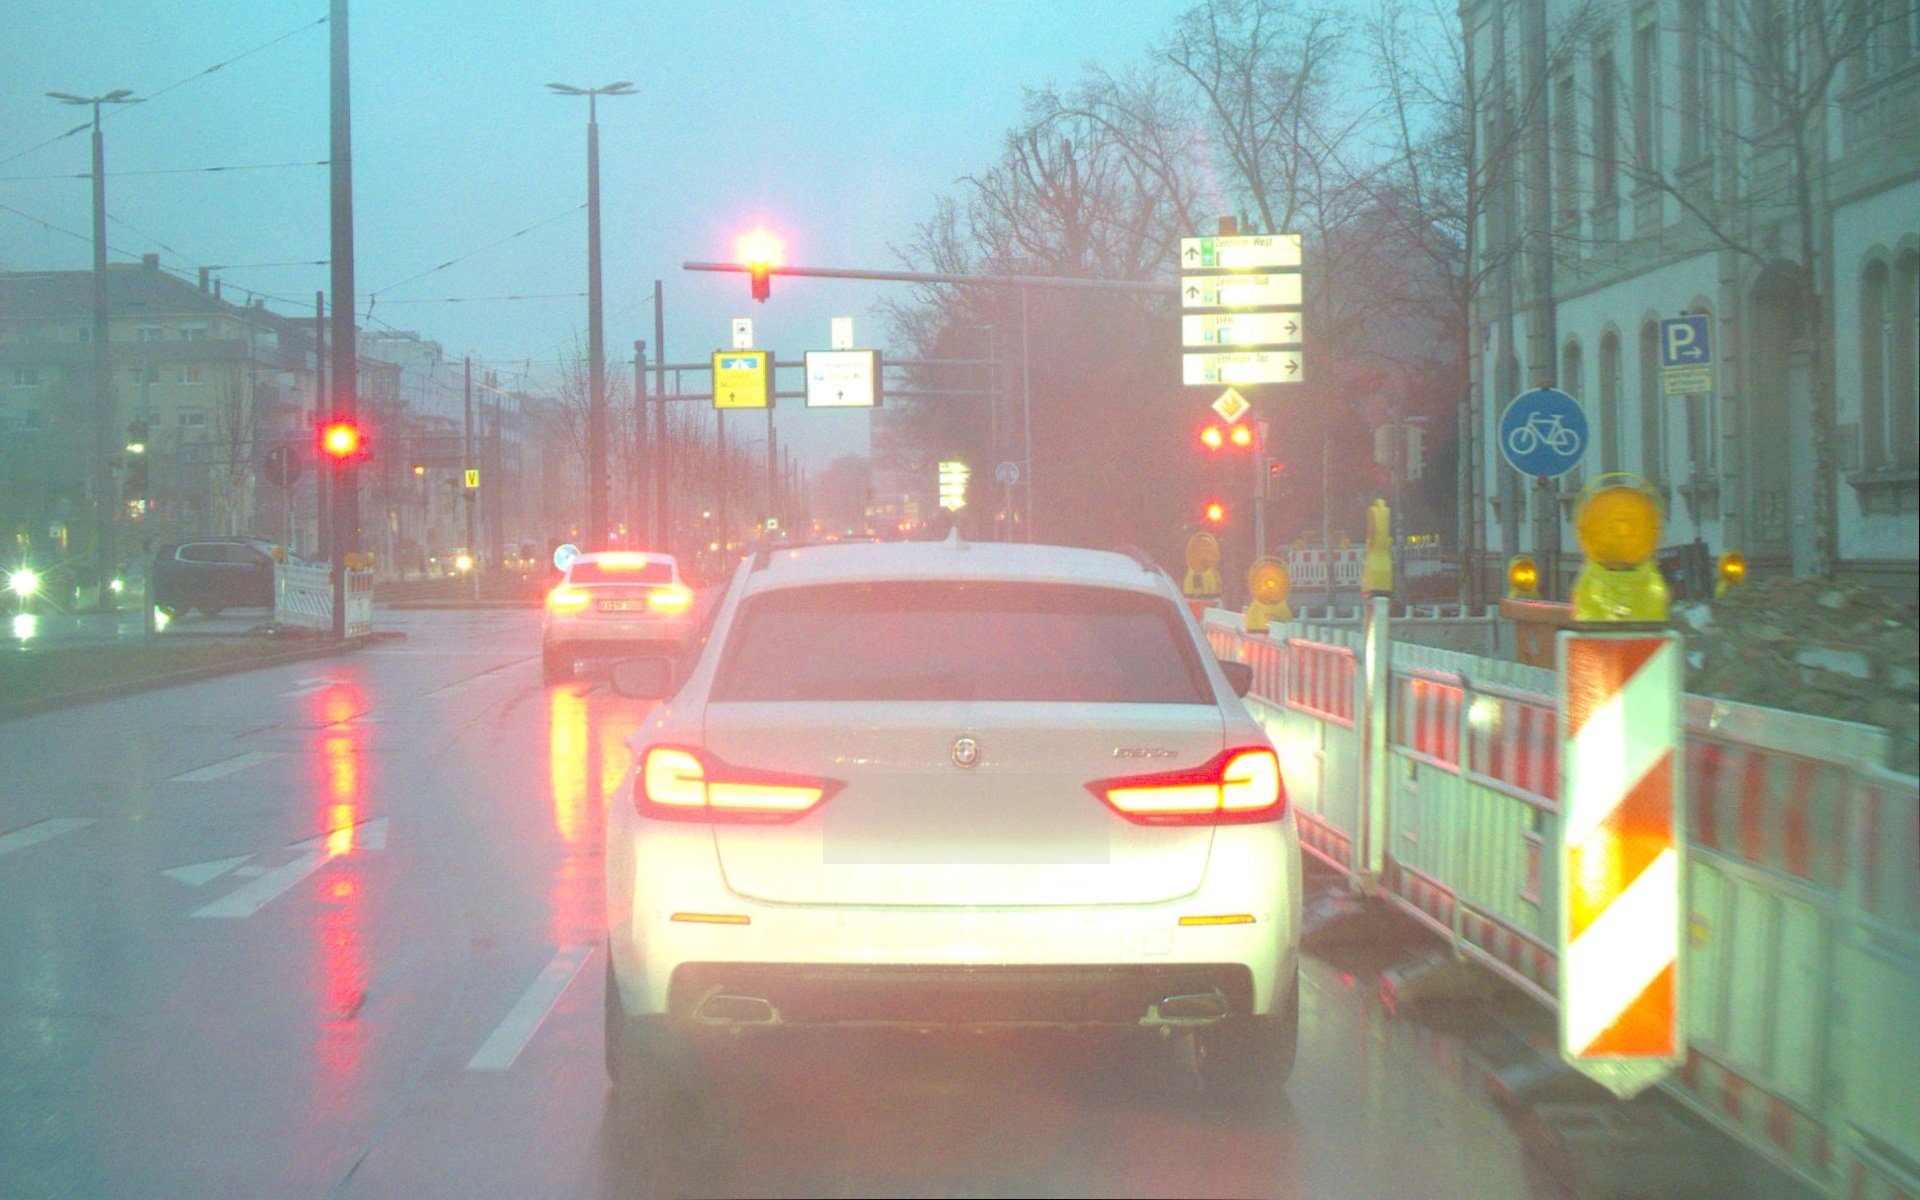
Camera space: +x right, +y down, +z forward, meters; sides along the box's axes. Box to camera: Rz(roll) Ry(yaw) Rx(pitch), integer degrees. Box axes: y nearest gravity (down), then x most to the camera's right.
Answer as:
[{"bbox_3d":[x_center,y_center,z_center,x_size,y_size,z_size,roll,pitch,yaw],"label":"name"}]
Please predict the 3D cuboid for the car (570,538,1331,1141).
[{"bbox_3d":[-0.105,0.544,10.884,1.852,1.460,4.947,0,1,-2],"label":"car"}]

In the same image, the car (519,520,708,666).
[{"bbox_3d":[-4.059,-0.114,40.813,1.901,1.636,4.000,0,1,-1],"label":"car"}]

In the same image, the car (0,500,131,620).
[{"bbox_3d":[-16.067,-0.680,57.703,3.986,1.968,2.001,0,1,-20],"label":"car"}]

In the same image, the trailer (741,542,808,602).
[{"bbox_3d":[-5.244,-0.807,97.059,1.834,1.637,4.001,0,1,-4],"label":"trailer"}]

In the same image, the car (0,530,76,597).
[{"bbox_3d":[-23.567,-0.935,86.578,1.857,1.634,4.033,0,1,-5],"label":"car"}]

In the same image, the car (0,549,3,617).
[{"bbox_3d":[-22.795,-0.394,75.907,1.740,1.487,3.541,-1,1,-44],"label":"car"}]

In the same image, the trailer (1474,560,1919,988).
[{"bbox_3d":[3.175,0.547,13.000,1.851,1.341,3.529,-1,1,-1],"label":"trailer"}]

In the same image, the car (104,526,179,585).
[{"bbox_3d":[-23.695,-1.306,99.610,1.560,1.653,3.396,0,1,-4],"label":"car"}]

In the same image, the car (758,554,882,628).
[{"bbox_3d":[-3.278,-0.224,79.921,1.900,1.636,4.001,0,1,-17],"label":"car"}]
